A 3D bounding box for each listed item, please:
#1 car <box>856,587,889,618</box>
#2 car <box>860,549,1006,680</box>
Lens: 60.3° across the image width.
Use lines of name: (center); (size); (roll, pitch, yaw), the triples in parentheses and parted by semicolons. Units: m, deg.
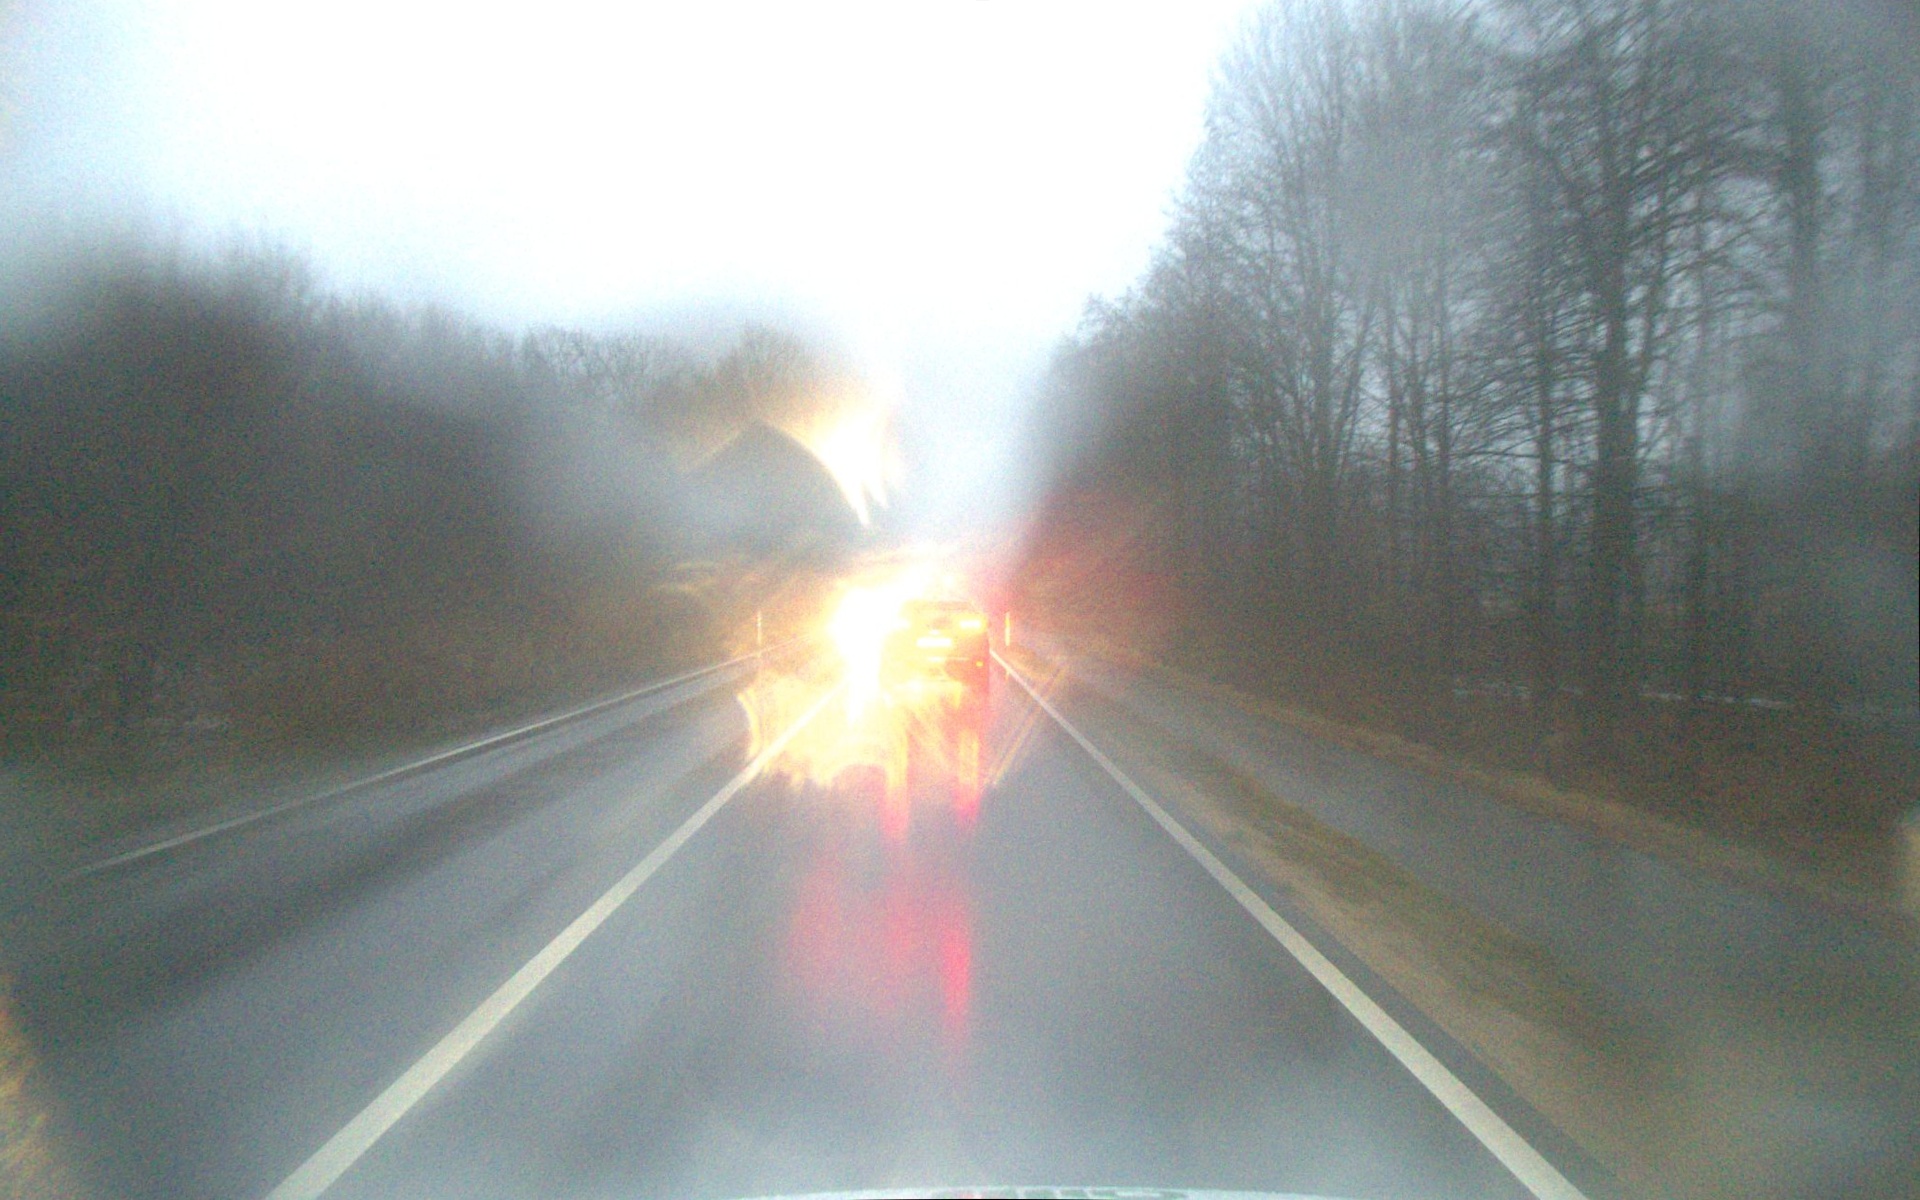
car: (-4.604, 0.110, 87.351); (1.713, 1.579, 3.992); (0, 1, -2)
car: (-0.454, 0.188, 27.163); (2.154, 1.910, 4.826); (1, 1, -1)
